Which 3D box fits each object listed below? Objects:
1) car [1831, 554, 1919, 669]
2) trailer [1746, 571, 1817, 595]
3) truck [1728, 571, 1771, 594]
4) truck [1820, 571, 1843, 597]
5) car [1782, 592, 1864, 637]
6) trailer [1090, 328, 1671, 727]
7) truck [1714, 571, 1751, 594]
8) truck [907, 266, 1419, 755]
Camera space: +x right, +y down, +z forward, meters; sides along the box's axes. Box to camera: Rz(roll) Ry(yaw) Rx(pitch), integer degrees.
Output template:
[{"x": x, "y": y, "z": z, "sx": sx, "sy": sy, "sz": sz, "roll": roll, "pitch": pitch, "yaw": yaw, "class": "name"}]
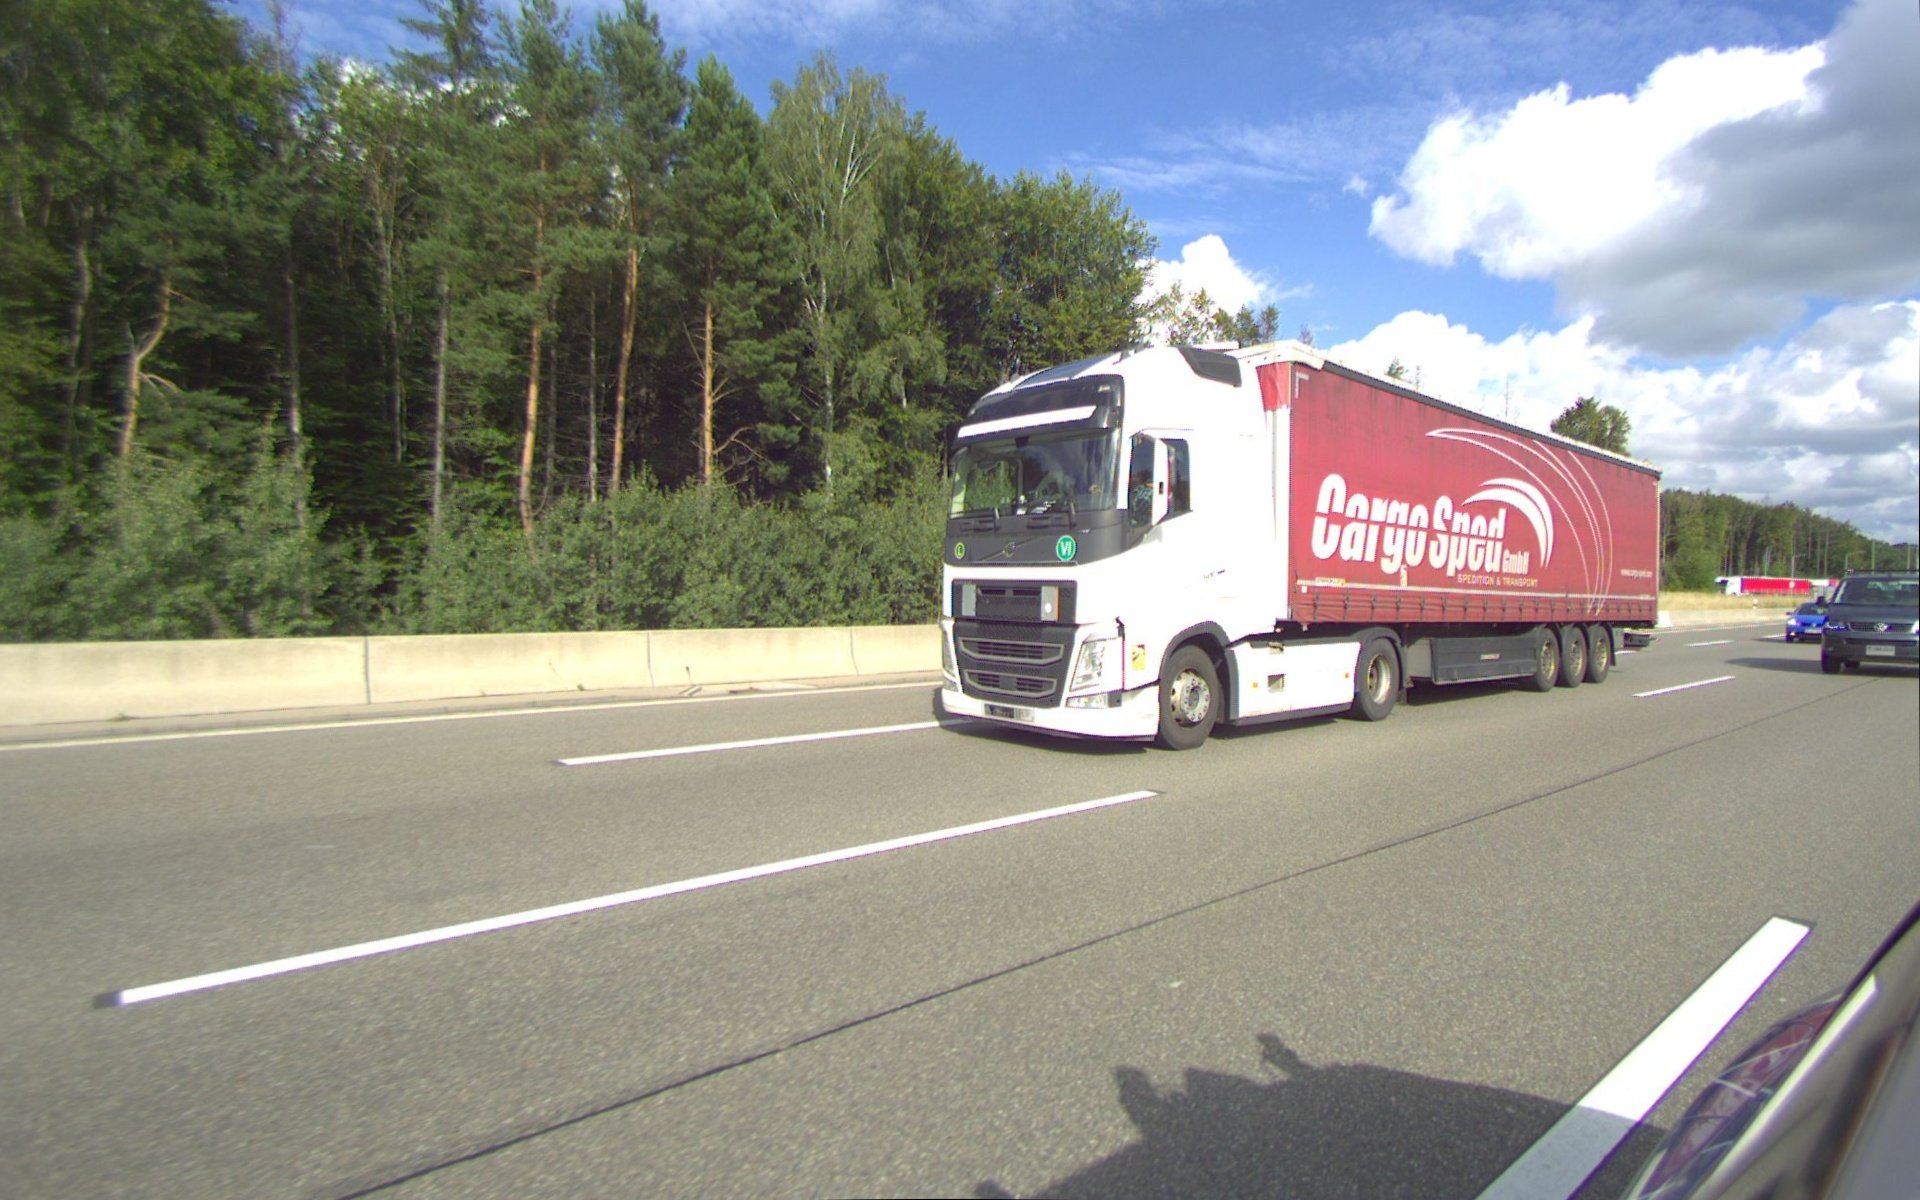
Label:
[{"x": 19.434, "y": 0.213, "z": 20.703, "sx": 4.847, "sy": 2.136, "sz": 1.852, "roll": 0, "pitch": 0, "yaw": -42, "class": "car"}, {"x": 161.336, "y": -3.329, "z": 198.873, "sx": 11.179, "sy": 4.429, "sz": 2.843, "roll": 1, "pitch": 0, "yaw": 4, "class": "trailer"}, {"x": 155.464, "y": -3.454, "z": 199.257, "sx": 5.986, "sy": 4.563, "sz": 2.878, "roll": 0, "pitch": 0, "yaw": 3, "class": "truck"}, {"x": 156.393, "y": -2.867, "z": 181.676, "sx": 2.868, "sy": 4.562, "sz": 7.073, "roll": 2, "pitch": 2, "yaw": 40, "class": "truck"}, {"x": 30.068, "y": 0.462, "z": 35.225, "sx": 3.931, "sy": 1.460, "sz": 1.652, "roll": 0, "pitch": 1, "yaw": -41, "class": "car"}, {"x": 7.581, "y": -0.783, "z": 15.893, "sx": 13.474, "sy": 4.096, "sz": 2.779, "roll": 0, "pitch": 1, "yaw": -41, "class": "trailer"}, {"x": 154.980, "y": -3.549, "z": 203.135, "sx": 5.028, "sy": 4.564, "sz": 2.895, "roll": 1, "pitch": 1, "yaw": 3, "class": "truck"}, {"x": 2.486, "y": -0.775, "z": 11.393, "sx": 5.672, "sy": 4.096, "sz": 2.779, "roll": 0, "pitch": 1, "yaw": -41, "class": "truck"}]
